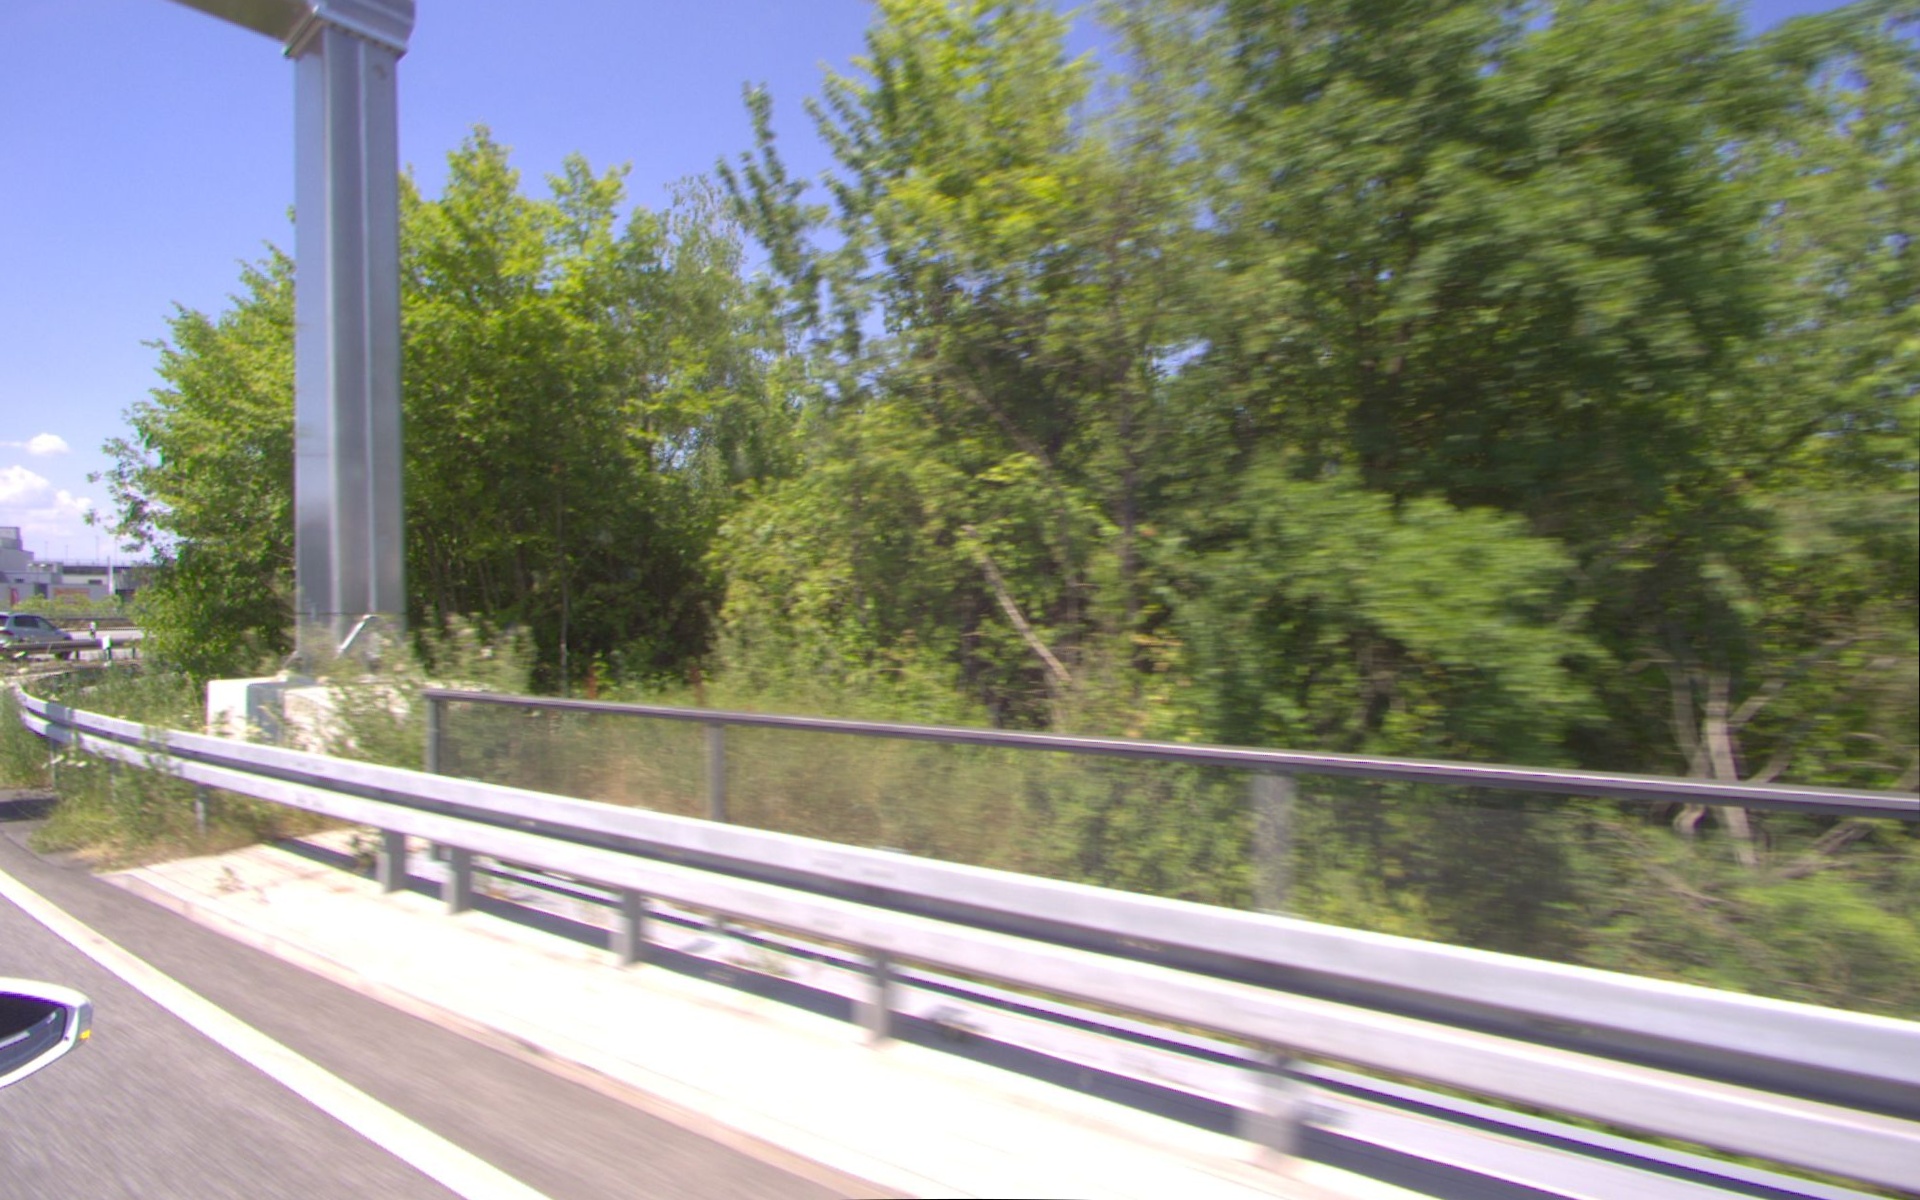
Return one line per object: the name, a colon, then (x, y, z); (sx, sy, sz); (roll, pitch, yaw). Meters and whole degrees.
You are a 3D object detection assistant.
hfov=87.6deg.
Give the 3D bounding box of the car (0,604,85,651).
car: (-32.456, 0.945, 34.434); (1.965, 1.525, 4.388); (0, -1, -18)
